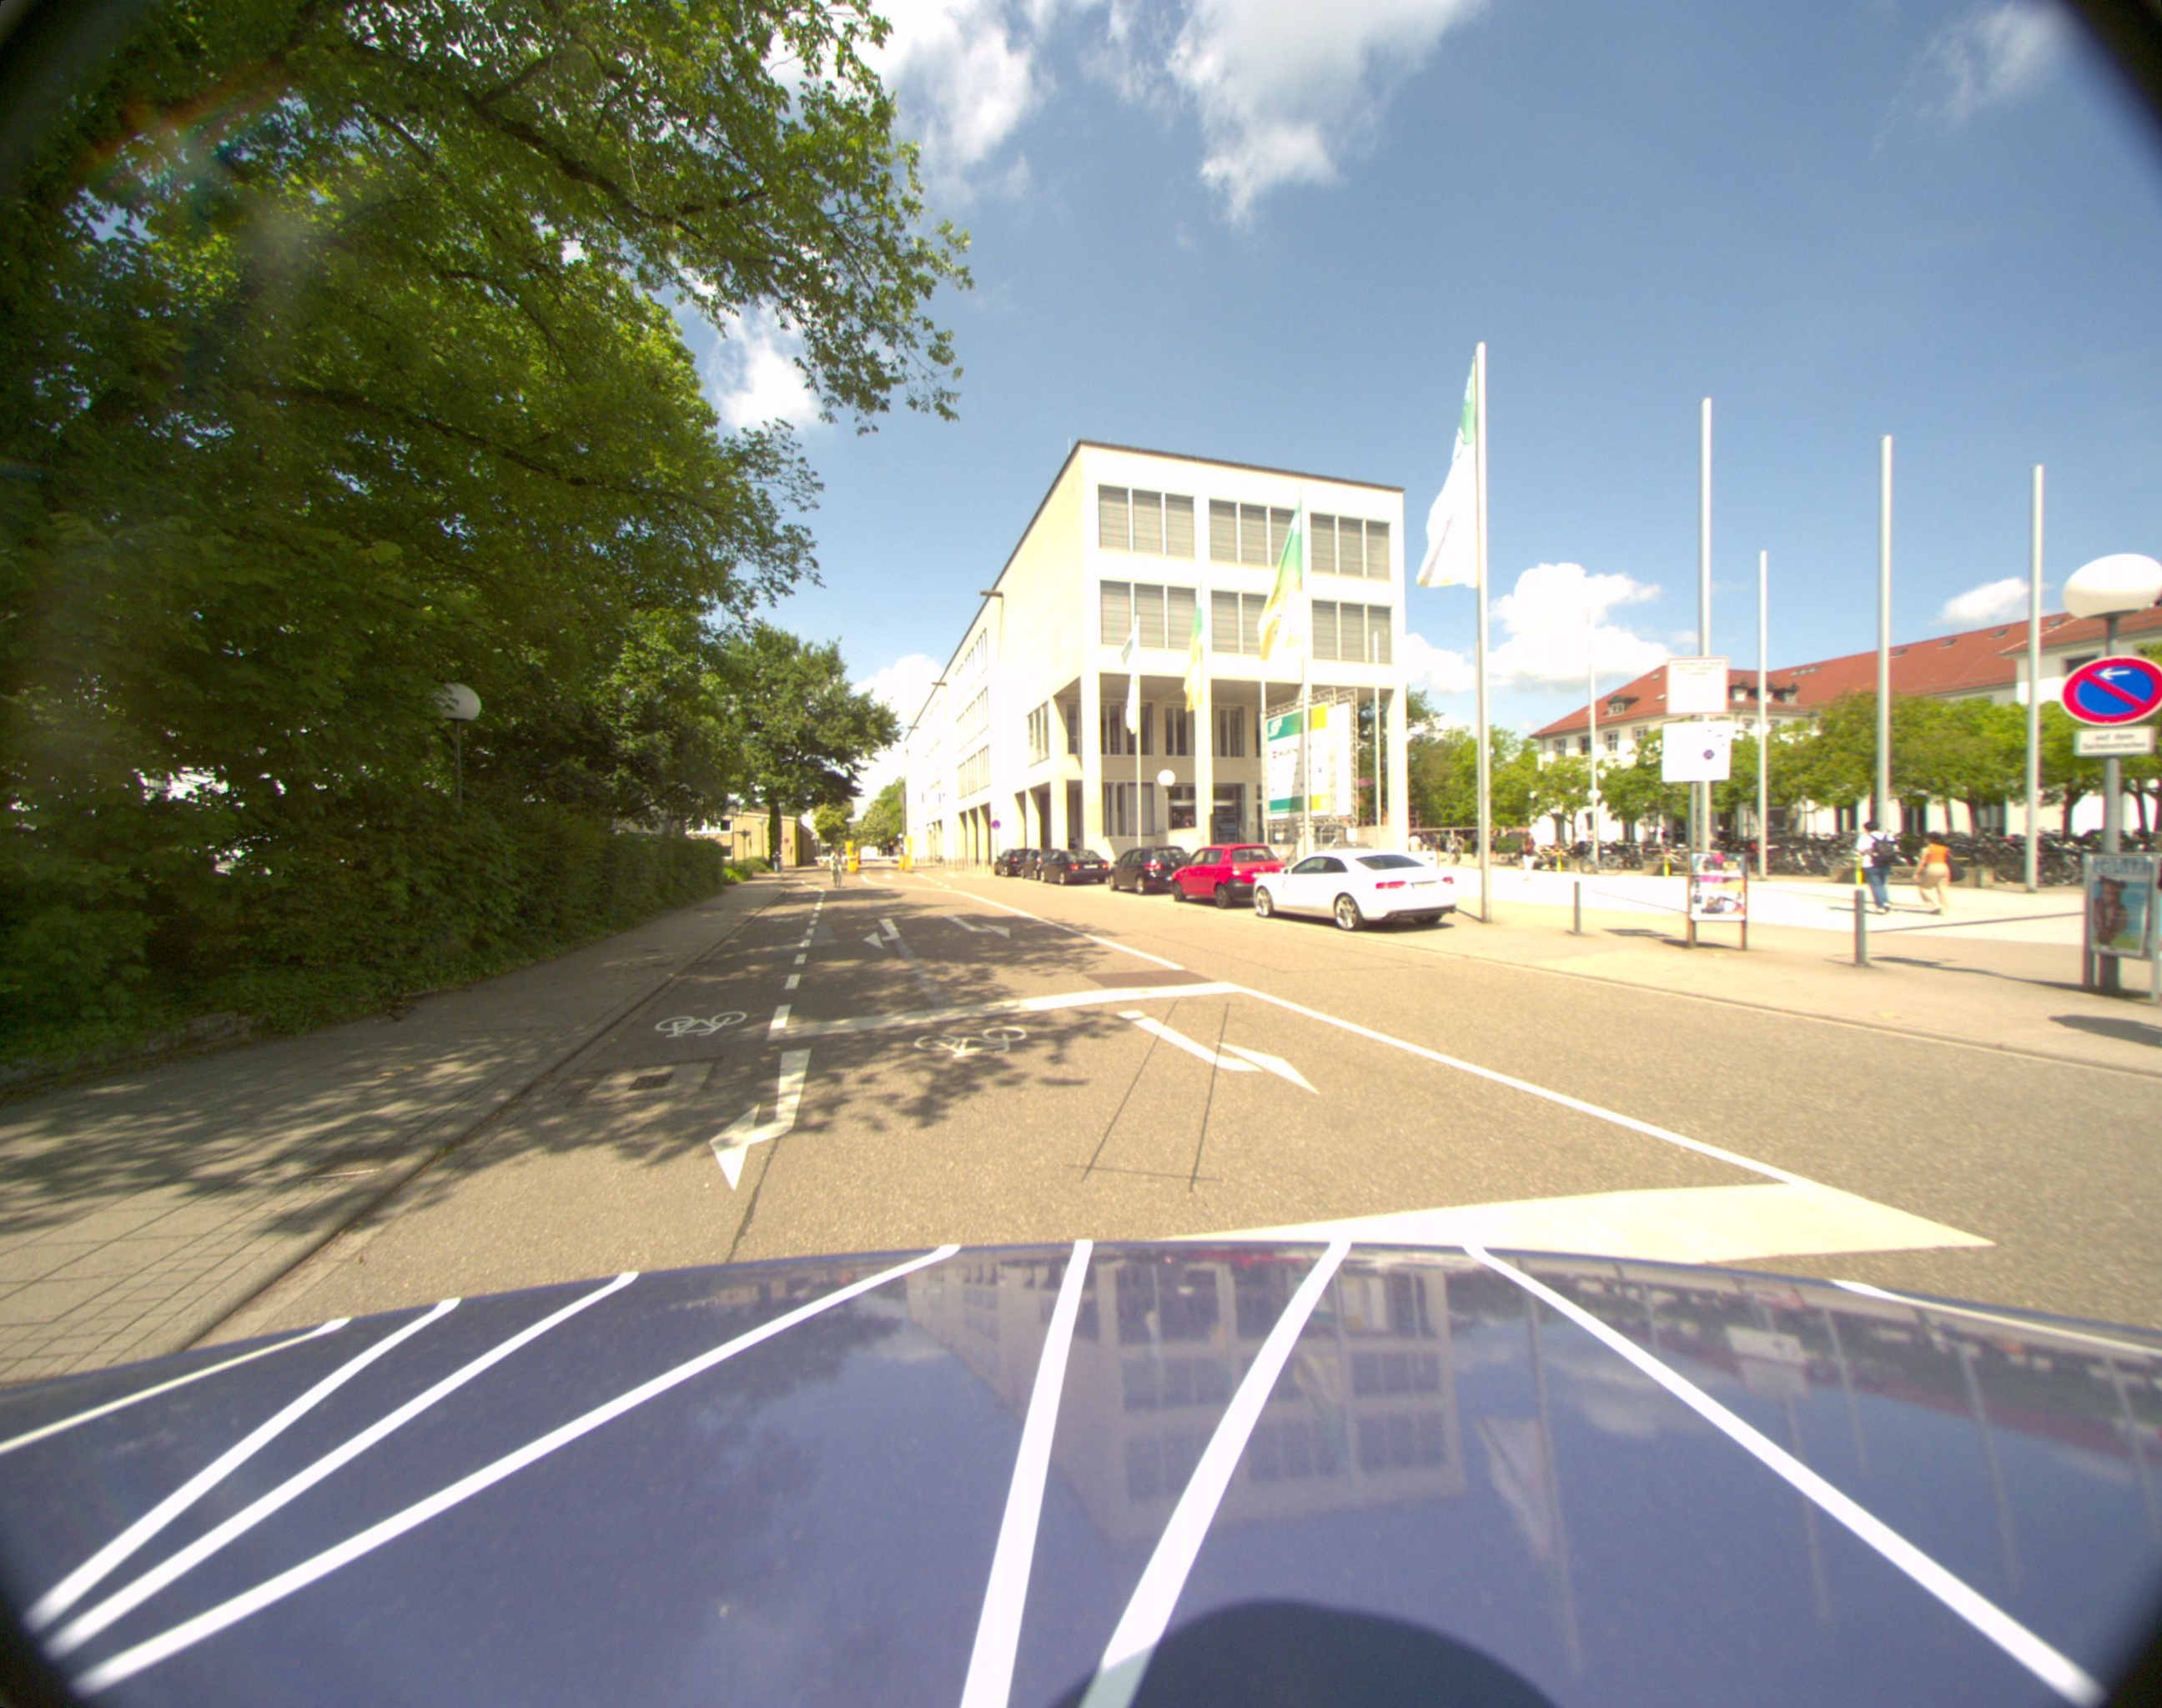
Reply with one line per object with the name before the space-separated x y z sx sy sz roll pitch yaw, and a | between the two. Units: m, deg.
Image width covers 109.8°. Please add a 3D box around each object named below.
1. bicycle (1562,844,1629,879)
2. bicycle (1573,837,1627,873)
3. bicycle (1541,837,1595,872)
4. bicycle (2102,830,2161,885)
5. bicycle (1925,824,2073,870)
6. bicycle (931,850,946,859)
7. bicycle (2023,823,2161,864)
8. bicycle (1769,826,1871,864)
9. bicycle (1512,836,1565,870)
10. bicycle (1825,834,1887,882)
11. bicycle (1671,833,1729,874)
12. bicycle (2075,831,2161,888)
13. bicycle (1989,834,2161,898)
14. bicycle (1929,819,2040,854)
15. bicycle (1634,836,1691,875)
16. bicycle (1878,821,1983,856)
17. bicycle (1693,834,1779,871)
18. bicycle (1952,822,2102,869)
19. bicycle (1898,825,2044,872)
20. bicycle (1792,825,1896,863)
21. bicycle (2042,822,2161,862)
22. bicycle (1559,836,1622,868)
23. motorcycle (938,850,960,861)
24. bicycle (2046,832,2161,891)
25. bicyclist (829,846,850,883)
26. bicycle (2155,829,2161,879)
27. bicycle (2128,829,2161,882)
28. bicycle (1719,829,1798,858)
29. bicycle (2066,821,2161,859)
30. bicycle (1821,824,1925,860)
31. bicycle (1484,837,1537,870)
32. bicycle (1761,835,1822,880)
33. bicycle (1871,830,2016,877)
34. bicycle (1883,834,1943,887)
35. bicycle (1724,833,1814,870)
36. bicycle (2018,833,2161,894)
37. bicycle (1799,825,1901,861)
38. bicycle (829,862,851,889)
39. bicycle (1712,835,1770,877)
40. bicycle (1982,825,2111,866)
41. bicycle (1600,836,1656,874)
bicycle | 18.986 0.250 28.093 0.651 1.209 2.091 -2 2 -17
bicycle | 22.304 0.003 32.623 2.956 1.403 1.145 -3 2 -40
bicycle | 21.516 0.009 33.545 2.956 1.403 1.145 -3 2 -40
bicycle | 28.655 0.088 19.377 1.066 1.403 2.947 -2 1 -12
bicycle | 29.796 -0.241 24.777 1.065 1.403 2.948 -2 1 -9
bicycle | -16.790 0.051 89.659 1.645 1.080 0.607 -3 2 -23
bicycle | 37.291 -0.405 28.069 1.066 1.403 2.946 -3 2 -18
bicycle | 29.570 -0.364 30.504 1.065 1.403 2.949 -2 1 -6
bicycle | 20.757 -0.070 34.465 2.956 1.403 1.145 -3 2 -40
bicycle | 25.004 0.096 24.488 2.956 1.403 1.145 -3 2 -40
bicycle | 23.488 -0.035 28.819 2.956 1.403 1.145 -3 2 -40
bicycle | 27.614 0.128 19.148 1.018 1.403 2.947 -2 1 -12
bicycle | 24.477 0.247 18.465 1.018 1.411 2.947 -2 1 -12
bicycle | 38.984 -0.739 32.865 1.065 1.403 2.948 -2 1 -9
bicycle | 23.074 0.034 30.113 2.956 1.403 1.145 -3 2 -40
bicycle | 36.698 -0.662 32.911 1.065 1.403 2.948 -2 1 -9
bicycle | 26.634 -0.108 31.002 1.147 1.403 2.951 -2 1 5
bicycle | 30.926 -0.284 24.955 1.065 1.403 2.948 -2 1 -9
bicycle | 28.677 -0.199 24.599 1.065 1.403 2.948 -2 1 -9
bicycle | 30.691 -0.406 30.655 1.065 1.403 2.949 -2 1 -6
bicycle | 38.560 -0.458 28.501 1.066 1.403 2.946 -3 2 -18
bicycle | 24.006 -0.129 35.897 1.147 1.403 2.951 -2 1 5
motorcycle | -14.031 0.162 80.932 2.175 1.131 0.773 -2 1 -27
bicycle | 26.554 0.169 18.946 1.018 1.403 2.947 -2 1 -12
bicyclist | -9.990 0.427 31.438 0.782 1.478 0.694 -2 1 -19
bicycle | 30.821 0.002 19.882 1.066 1.403 2.947 -2 1 -12
bicycle | 29.737 0.045 19.641 1.066 1.403 2.947 -2 1 -12
bicycle | 34.461 -0.550 38.706 1.148 1.403 2.948 -2 1 -9
bicycle | 40.461 -0.538 29.188 1.215 1.403 2.946 -3 2 -18
bicycle | 32.835 -0.500 31.593 1.065 1.403 2.949 -2 1 -6
bicycle | 20.017 -0.038 35.394 2.956 1.403 1.145 -3 2 -40
bicycle | 24.245 0.090 25.910 2.956 1.403 1.145 -3 2 -40
bicycle | 27.550 -0.040 24.385 1.065 1.403 2.948 -2 1 -9
bicycle | 24.688 0.151 22.520 2.956 1.403 1.062 -3 2 -40
bicycle | 27.897 -0.149 30.899 1.147 1.403 2.951 -2 1 5
bicycle | 25.519 0.207 18.701 1.018 1.408 2.947 -2 1 -12
bicycle | 31.724 -0.459 31.455 1.065 1.403 2.949 -2 1 -6
bicycle | -9.936 0.863 31.323 0.782 1.042 1.909 -2 1 -19
bicycle | 24.236 0.045 27.879 2.956 1.403 1.145 -3 2 -40
bicycle | 35.487 -0.342 28.034 1.065 1.403 2.951 -2 1 2
bicycle | 22.469 0.030 31.198 2.956 1.403 1.145 -3 2 -40
